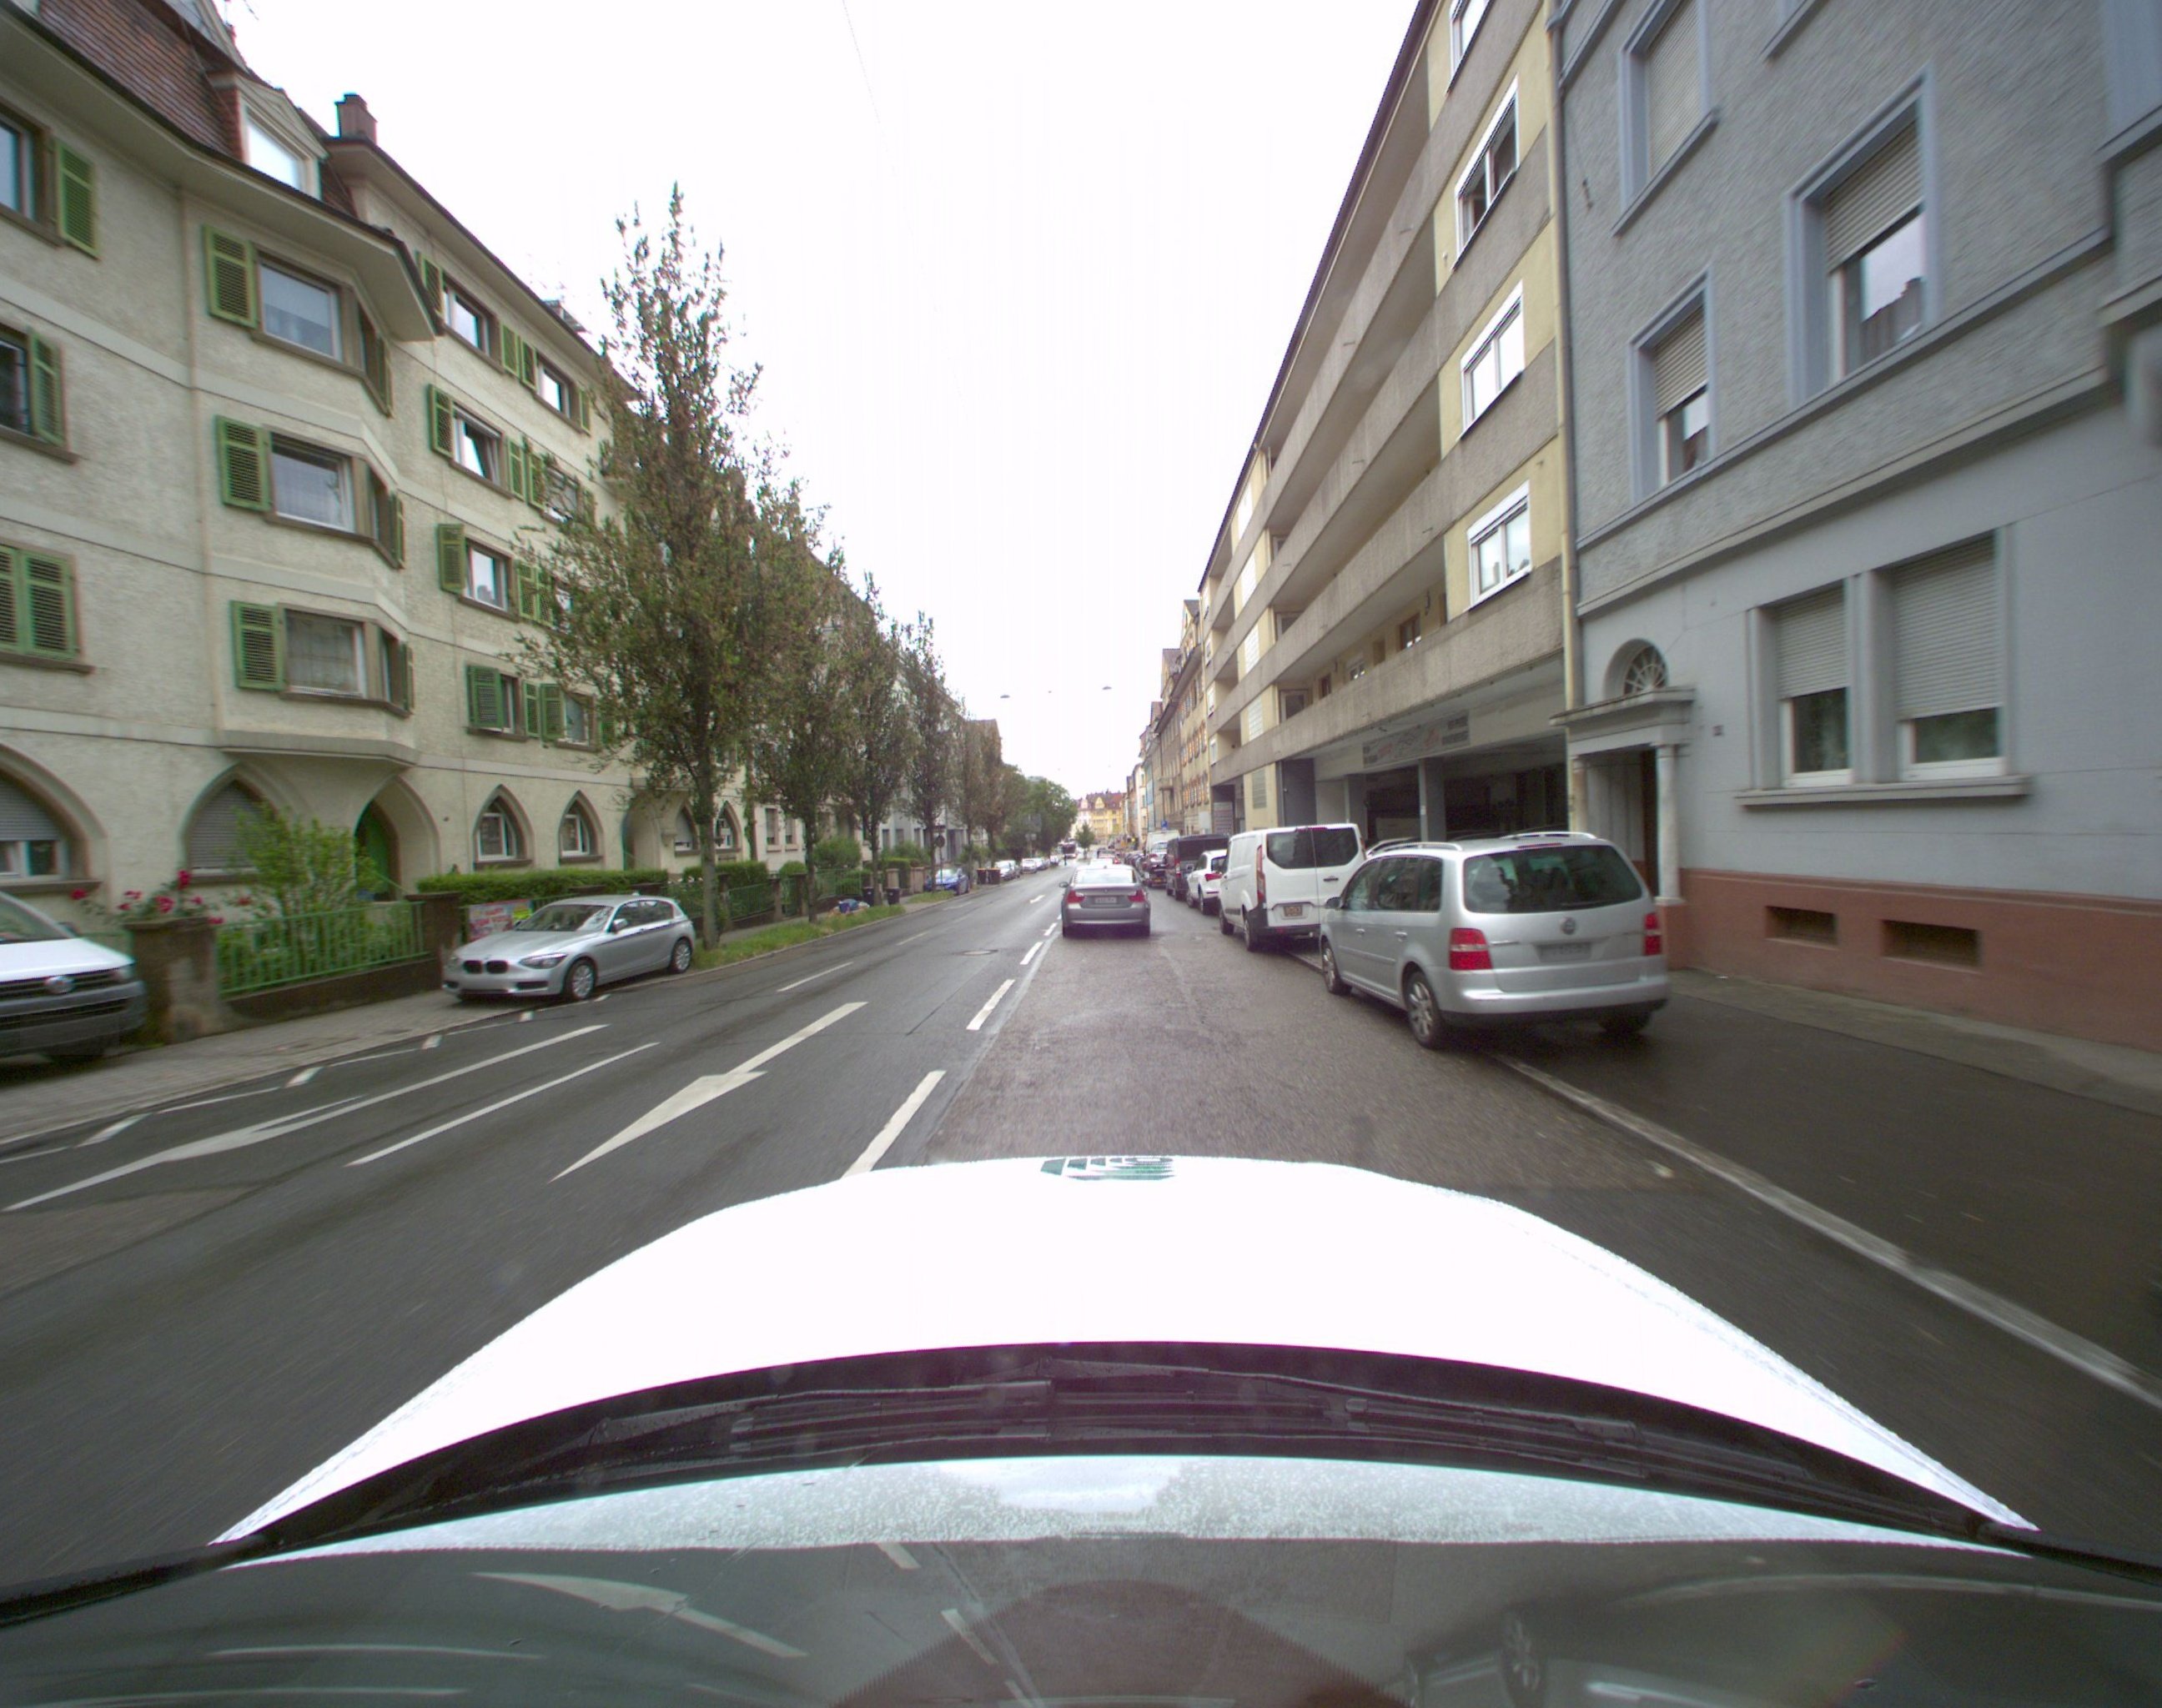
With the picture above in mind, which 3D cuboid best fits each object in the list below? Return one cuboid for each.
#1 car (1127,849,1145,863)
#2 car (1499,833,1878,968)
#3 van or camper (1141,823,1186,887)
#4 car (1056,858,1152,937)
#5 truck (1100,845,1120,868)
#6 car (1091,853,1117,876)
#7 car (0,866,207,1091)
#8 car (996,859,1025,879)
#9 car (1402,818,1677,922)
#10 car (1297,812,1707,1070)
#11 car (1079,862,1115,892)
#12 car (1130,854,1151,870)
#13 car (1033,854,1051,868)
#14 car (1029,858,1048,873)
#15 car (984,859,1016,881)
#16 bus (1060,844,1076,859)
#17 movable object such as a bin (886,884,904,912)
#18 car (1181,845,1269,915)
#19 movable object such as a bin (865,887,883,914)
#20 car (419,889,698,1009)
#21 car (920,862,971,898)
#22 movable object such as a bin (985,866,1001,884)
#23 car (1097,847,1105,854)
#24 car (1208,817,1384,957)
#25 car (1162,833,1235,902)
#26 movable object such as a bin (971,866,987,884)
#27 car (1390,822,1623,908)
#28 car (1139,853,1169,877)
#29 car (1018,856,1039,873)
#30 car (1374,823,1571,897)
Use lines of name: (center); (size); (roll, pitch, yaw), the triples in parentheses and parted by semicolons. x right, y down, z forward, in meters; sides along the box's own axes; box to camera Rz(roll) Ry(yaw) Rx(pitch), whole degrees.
car: (5.937, 0.225, 87.739); (1.691, 1.483, 3.976); (-1, -1, 1)
car: (9.080, 0.694, 12.685); (4.290, 1.804, 2.017); (-2, 1, 19)
van or camper: (4.012, 0.040, 39.878); (2.023, 2.869, 6.895); (0, 0, 5)
car: (0.514, 0.824, 16.983); (1.762, 1.428, 3.743); (-1, 0, 3)
truck: (3.181, 0.272, 89.678); (2.025, 2.412, 4.827); (-1, -1, 1)
car: (1.534, 0.705, 55.441); (1.691, 1.483, 3.794); (-1, -1, 1)
car: (-11.976, 1.243, 7.858); (4.811, 1.974, 2.048); (-3, 0, 1)
car: (-5.870, 1.220, 68.142); (1.820, 1.523, 3.739); (-4, 0, 3)
car: (8.700, 0.291, 15.881); (4.294, 1.726, 1.916); (-3, 1, 14)
car: (3.511, 0.615, 7.845); (1.720, 1.670, 4.290); (-5, 0, 2)
car: (0.844, 1.149, 41.297); (1.675, 1.428, 3.743); (-1, -1, 3)
car: (5.677, 0.804, 78.047); (1.691, 1.483, 3.976); (-1, -1, 1)
car: (-4.573, 0.838, 96.965); (1.684, 1.523, 3.739); (-4, 0, 3)
car: (-4.717, 1.239, 90.732); (1.684, 1.523, 3.739); (-4, 0, 3)
car: (-6.209, 1.202, 62.952); (1.820, 1.523, 3.739); (-4, 0, 3)
bus: (-2.683, -0.529, 170.661); (2.659, 3.024, 7.673); (-3, 0, 2)
movable object such as a bin: (-6.687, 1.575, 29.278); (0.575, 0.912, 0.637); (-3, -1, -13)
car: (3.896, 0.670, 22.663); (1.719, 1.670, 4.290); (-3, 0, 2)
movable object such as a bin: (-7.479, 1.671, 29.409); (0.575, 0.912, 0.637); (-3, -1, -13)
car: (-7.995, 1.368, 12.987); (1.719, 1.484, 3.991); (0, -1, 3)
car: (-6.849, 1.289, 41.613); (1.761, 1.593, 4.000); (-4, 0, 0)
movable object such as a bin: (-5.987, 1.427, 55.490); (0.931, 1.168, 0.910); (-2, 0, 1)
car: (4.353, -0.720, 175.981); (1.691, 1.483, 3.794); (-4, 0, 1)
car: (3.619, 0.512, 14.671); (1.974, 2.007, 4.626); (-3, 0, 2)
car: (4.131, 0.442, 29.326); (1.974, 2.166, 4.751); (-3, 0, 2)
movable object such as a bin: (-6.943, 1.421, 55.508); (0.898, 1.168, 0.895); (-2, 0, 1)
car: (9.231, 0.222, 18.019); (4.256, 1.640, 1.673); (-3, 1, 14)
car: (4.791, 0.730, 53.832); (1.691, 1.483, 3.976); (-1, -1, 1)
car: (-5.376, 1.032, 83.542); (1.684, 1.523, 3.739); (-4, 0, 3)
car: (9.843, 0.147, 20.814); (4.256, 1.640, 1.673); (-3, 1, 14)
